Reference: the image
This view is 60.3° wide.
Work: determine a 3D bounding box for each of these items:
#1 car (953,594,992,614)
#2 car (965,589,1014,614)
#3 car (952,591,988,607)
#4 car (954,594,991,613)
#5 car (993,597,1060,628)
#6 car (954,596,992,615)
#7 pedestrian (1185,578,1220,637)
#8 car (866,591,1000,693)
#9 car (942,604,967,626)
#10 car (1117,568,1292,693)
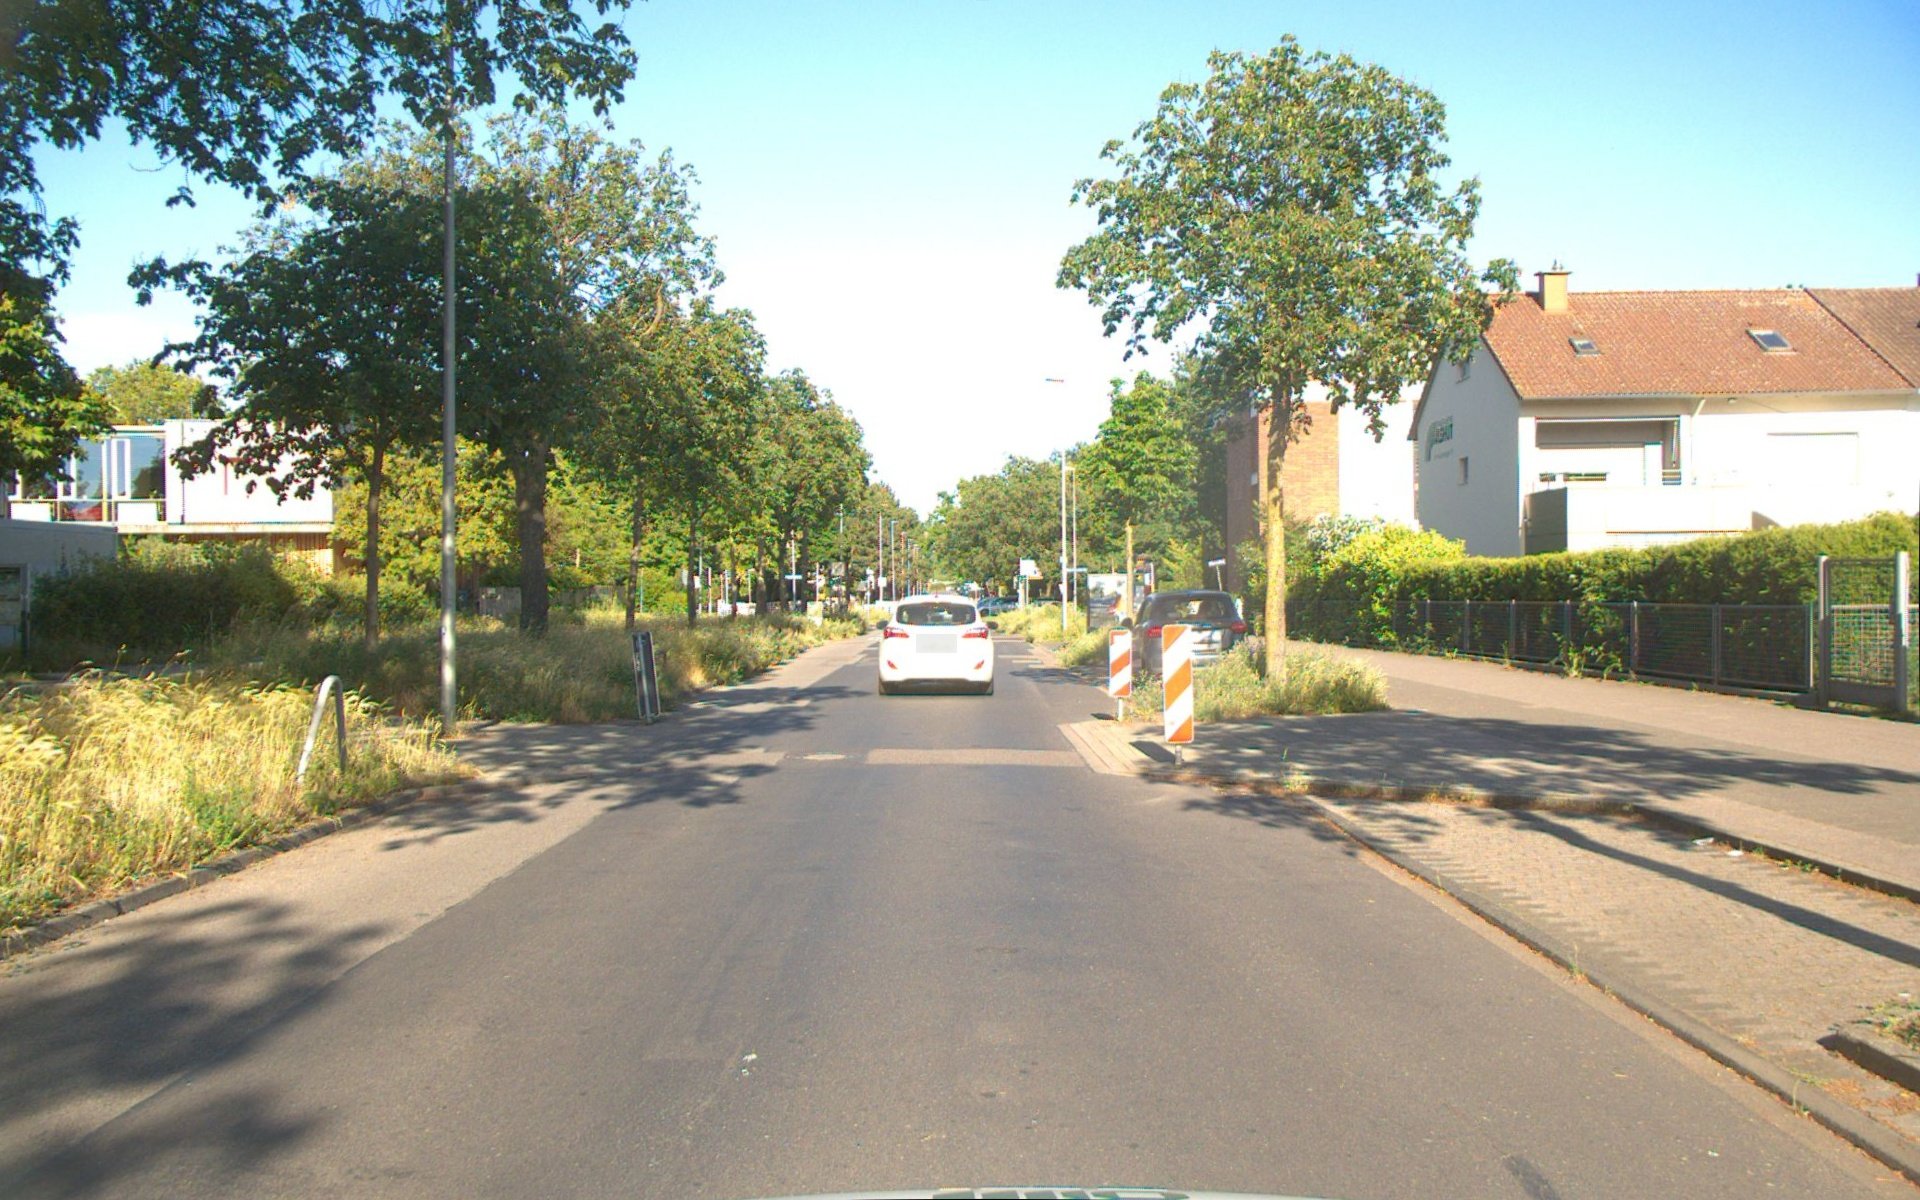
[{"bbox_3d":[1.285,0.367,171.072,3.906,2.049,1.999,0,0,-2],"label":"car"},{"bbox_3d":[2.349,0.103,134.343,3.906,2.049,1.999,0,0,-2],"label":"car"},{"bbox_3d":[1.123,-0.117,186.544,3.907,1.780,1.999,0,0,-3],"label":"car"},{"bbox_3d":[1.343,0.360,176.367,3.906,2.049,1.999,0,0,-2],"label":"car"},{"bbox_3d":[3.779,0.707,93.241,1.962,1.534,3.641,3,0,38],"label":"car"},{"bbox_3d":[1.325,0.564,173.640,3.906,2.049,1.999,0,0,-2],"label":"car"},{"bbox_3d":[8.478,0.265,57.929,1.090,2.049,0.921,0,0,-1],"label":"pedestrian"},{"bbox_3d":[-0.468,0.604,26.250,1.953,1.480,4.223,0,0,-2],"label":"car"},{"bbox_3d":[-0.401,1.124,123.719,1.780,1.534,3.658,3,0,-1],"label":"car"},{"bbox_3d":[3.748,0.464,26.072,1.954,1.758,3.998,-2,-1,-3],"label":"car"}]
